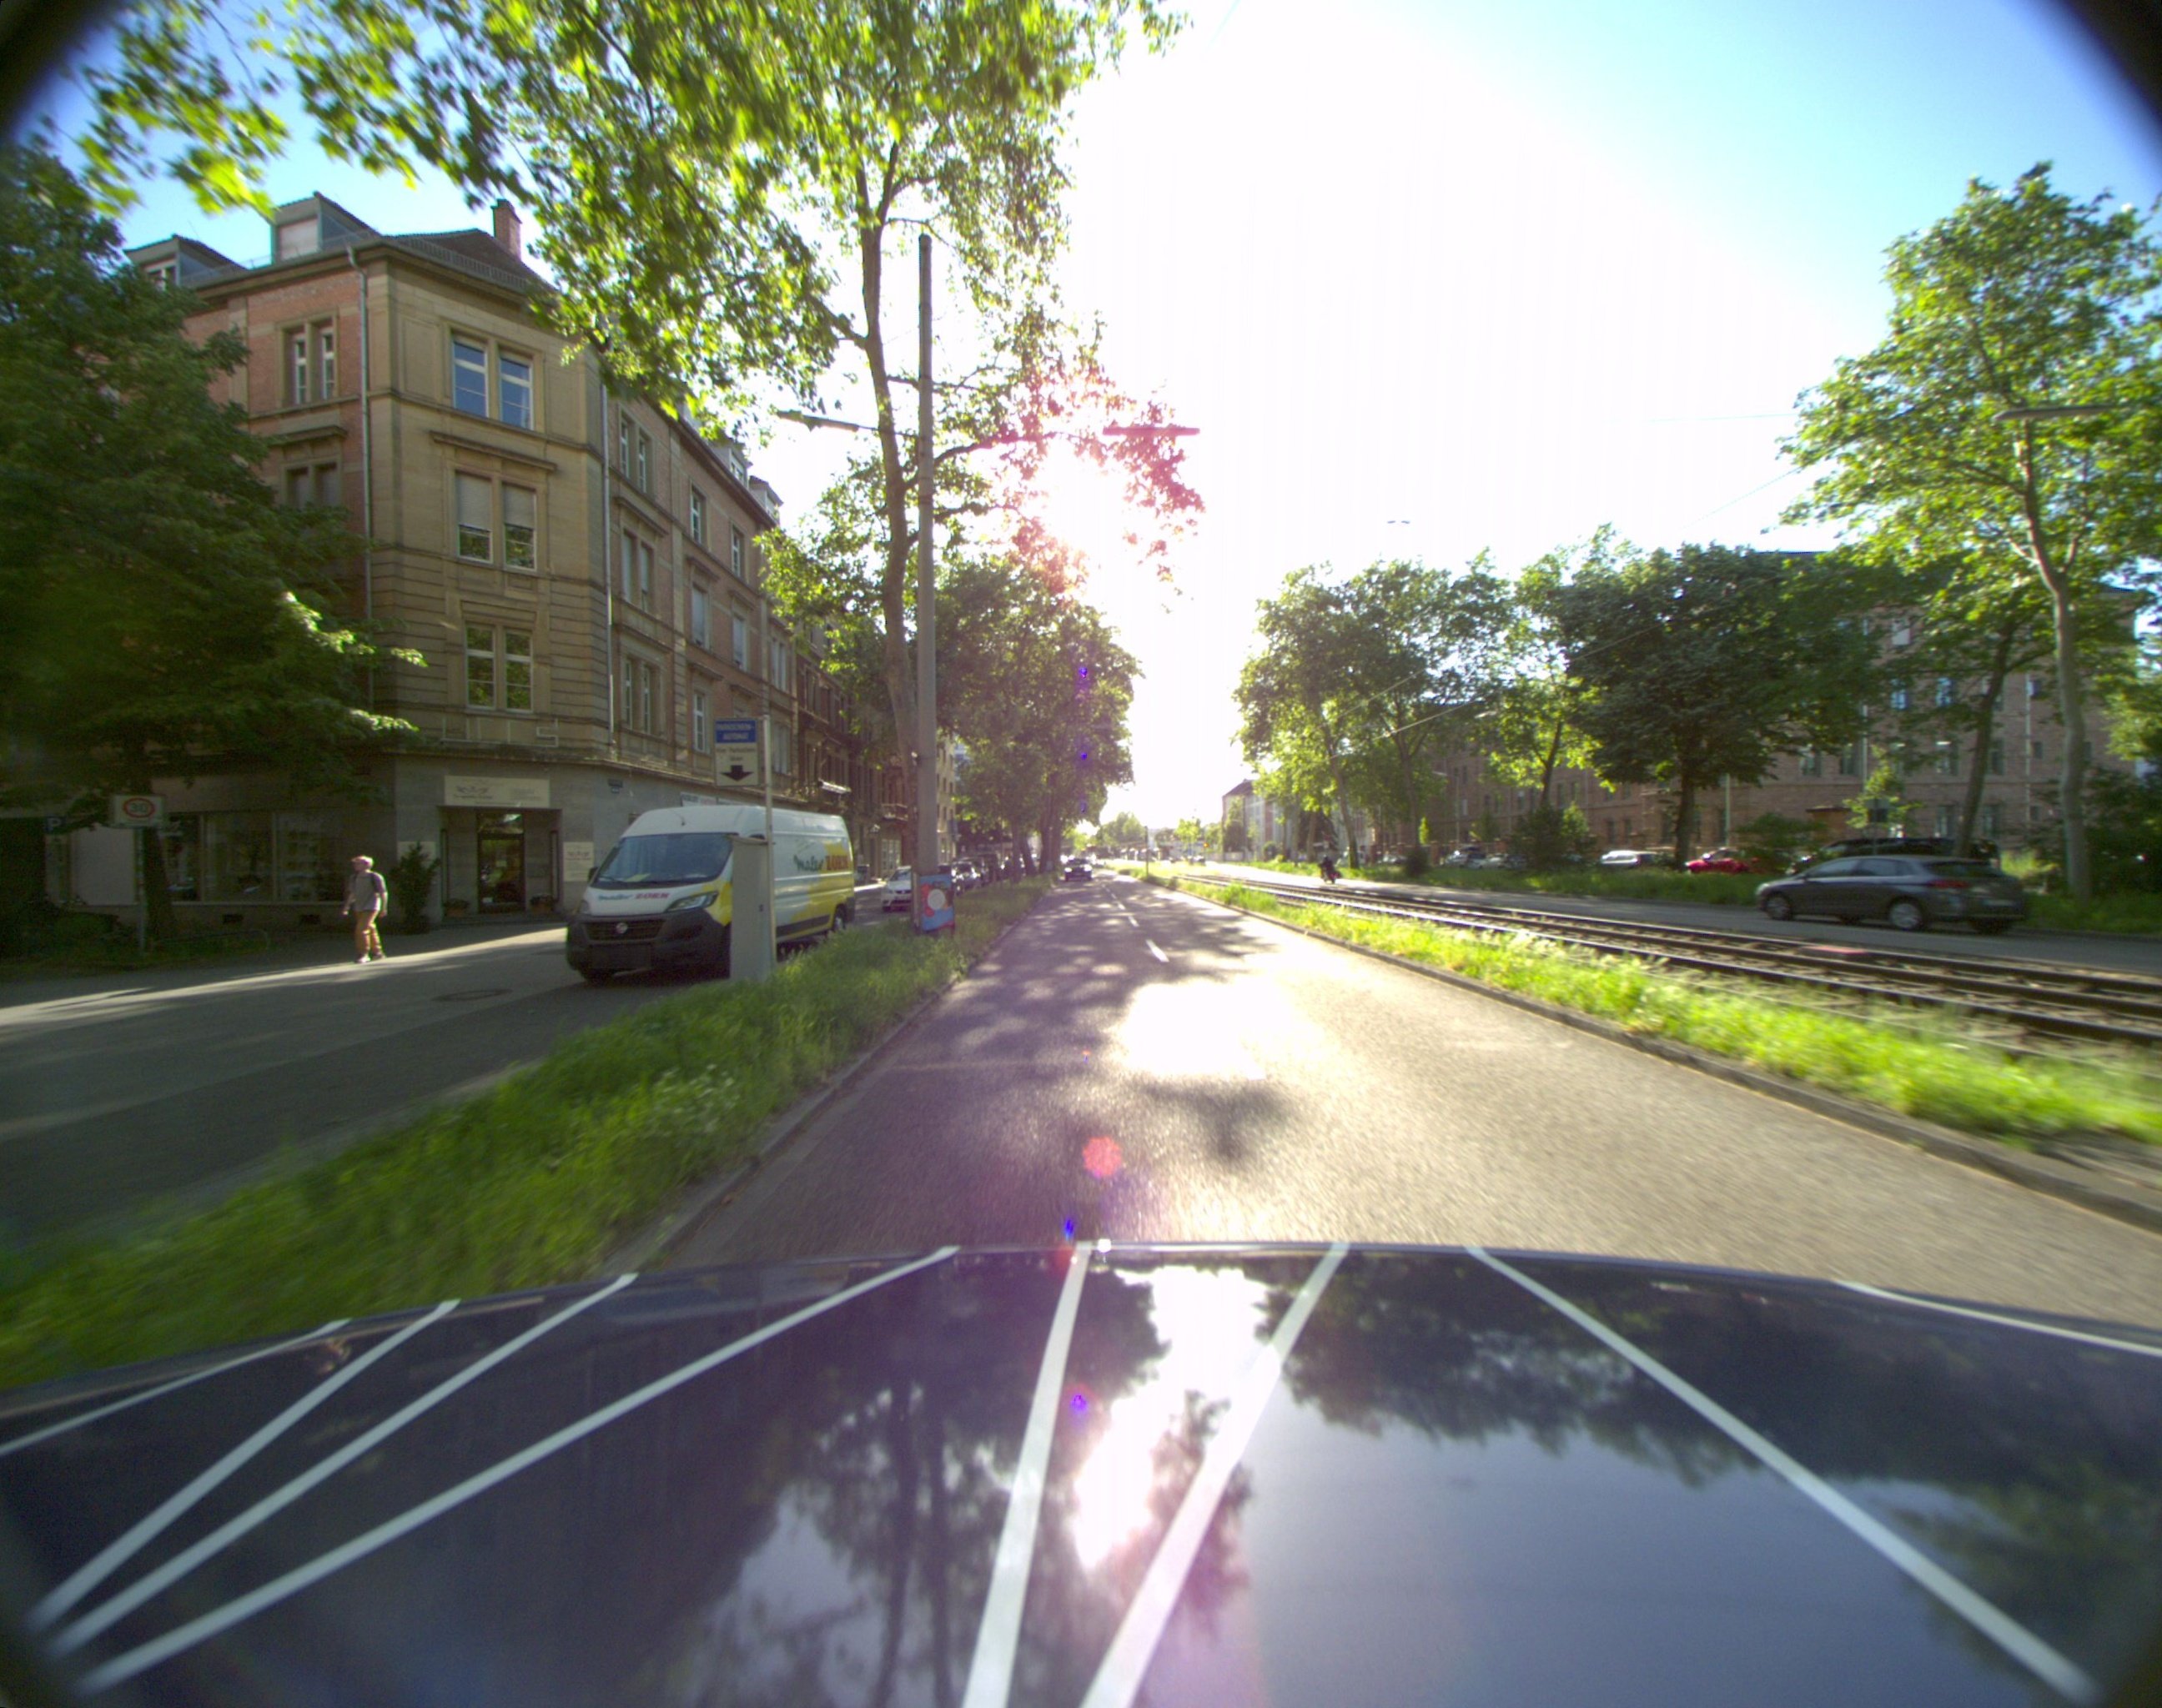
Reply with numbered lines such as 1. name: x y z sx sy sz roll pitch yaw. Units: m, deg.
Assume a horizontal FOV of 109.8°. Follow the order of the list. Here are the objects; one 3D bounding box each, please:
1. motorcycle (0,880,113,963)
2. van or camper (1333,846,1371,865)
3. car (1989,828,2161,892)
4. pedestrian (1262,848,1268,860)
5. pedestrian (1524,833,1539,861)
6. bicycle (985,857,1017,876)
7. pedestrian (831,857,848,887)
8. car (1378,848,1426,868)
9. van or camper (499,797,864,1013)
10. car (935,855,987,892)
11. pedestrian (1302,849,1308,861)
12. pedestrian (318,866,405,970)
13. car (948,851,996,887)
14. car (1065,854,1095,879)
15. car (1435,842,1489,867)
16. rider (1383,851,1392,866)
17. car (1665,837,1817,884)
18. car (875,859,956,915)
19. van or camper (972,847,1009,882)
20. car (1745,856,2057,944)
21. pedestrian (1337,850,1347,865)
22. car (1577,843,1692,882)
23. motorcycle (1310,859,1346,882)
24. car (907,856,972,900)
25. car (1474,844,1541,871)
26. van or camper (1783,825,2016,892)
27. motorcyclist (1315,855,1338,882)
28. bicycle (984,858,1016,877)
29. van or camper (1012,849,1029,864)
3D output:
1. motorcycle: -22.120 1.354 16.029 1.116 1.507 3.729 -1 0 -36
2. van or camper: 26.600 0.118 74.702 1.999 1.777 4.431 0 0 -3
3. car: 28.127 0.154 20.351 2.031 1.589 5.092 1 1 9
4. pedestrian: 30.004 0.007 123.830 0.664 2.002 0.860 -1 1 -1
5. pedestrian: 33.498 -0.521 56.504 0.716 2.002 0.626 -1 1 0
6. bicycle: -5.858 0.918 55.800 2.169 1.287 0.983 -2 1 0
7. pedestrian: -12.795 0.935 40.256 0.649 1.538 0.693 -1 1 -2
8. car: 27.071 0.355 64.314 1.998 1.640 4.827 -1 0 0
9. van or camper: -5.632 0.584 12.139 2.189 2.466 6.268 -3 0 2
10. car: -5.481 0.845 35.122 1.741 1.455 4.364 -4 0 -1
11. pedestrian: 34.108 0.131 115.507 0.694 1.826 0.573 -1 1 -1
12. pedestrian: -12.056 1.047 12.755 0.693 1.675 0.752 -1 1 0
13. car: -5.697 0.741 40.307 1.896 1.638 4.799 -4 0 -2
14. car: -0.024 0.854 55.243 1.979 1.660 4.620 -2 0 1
15. car: 26.927 0.044 53.845 1.772 1.709 4.421 -1 0 4
16. rider: 33.330 0.503 82.556 0.730 1.635 0.686 -1 0 0
17. car: 27.180 0.259 31.567 2.114 1.798 4.737 -1 0 -2
18. car: -5.441 1.023 25.437 1.758 1.563 4.184 -4 0 -1
19. van or camper: -5.881 0.646 49.825 1.838 2.086 4.773 -4 0 -2
20. car: 16.645 0.833 15.846 1.800 1.499 4.338 2 0 1
21. pedestrian: 33.316 0.461 97.007 0.903 1.888 0.942 -1 0 0
22. car: 27.037 0.393 37.364 2.114 1.798 4.737 -1 0 -2
23. motorcycle: 13.958 0.906 43.065 0.966 1.205 3.351 -1 0 0
24. car: -5.568 0.892 30.376 1.758 1.488 4.184 -4 0 -1
25. car: 27.045 0.215 48.355 1.998 1.606 4.421 -1 0 4
26. van or camper: 27.302 0.117 25.716 2.272 2.002 5.215 -1 1 -1
27. motorcyclist: 13.941 0.820 43.149 0.946 1.505 0.959 -1 0 0
28. bicycle: -5.852 0.937 54.514 2.171 1.287 0.982 -2 1 -11
29. van or camper: -9.625 0.406 121.962 2.297 2.273 5.821 -1 0 -1
